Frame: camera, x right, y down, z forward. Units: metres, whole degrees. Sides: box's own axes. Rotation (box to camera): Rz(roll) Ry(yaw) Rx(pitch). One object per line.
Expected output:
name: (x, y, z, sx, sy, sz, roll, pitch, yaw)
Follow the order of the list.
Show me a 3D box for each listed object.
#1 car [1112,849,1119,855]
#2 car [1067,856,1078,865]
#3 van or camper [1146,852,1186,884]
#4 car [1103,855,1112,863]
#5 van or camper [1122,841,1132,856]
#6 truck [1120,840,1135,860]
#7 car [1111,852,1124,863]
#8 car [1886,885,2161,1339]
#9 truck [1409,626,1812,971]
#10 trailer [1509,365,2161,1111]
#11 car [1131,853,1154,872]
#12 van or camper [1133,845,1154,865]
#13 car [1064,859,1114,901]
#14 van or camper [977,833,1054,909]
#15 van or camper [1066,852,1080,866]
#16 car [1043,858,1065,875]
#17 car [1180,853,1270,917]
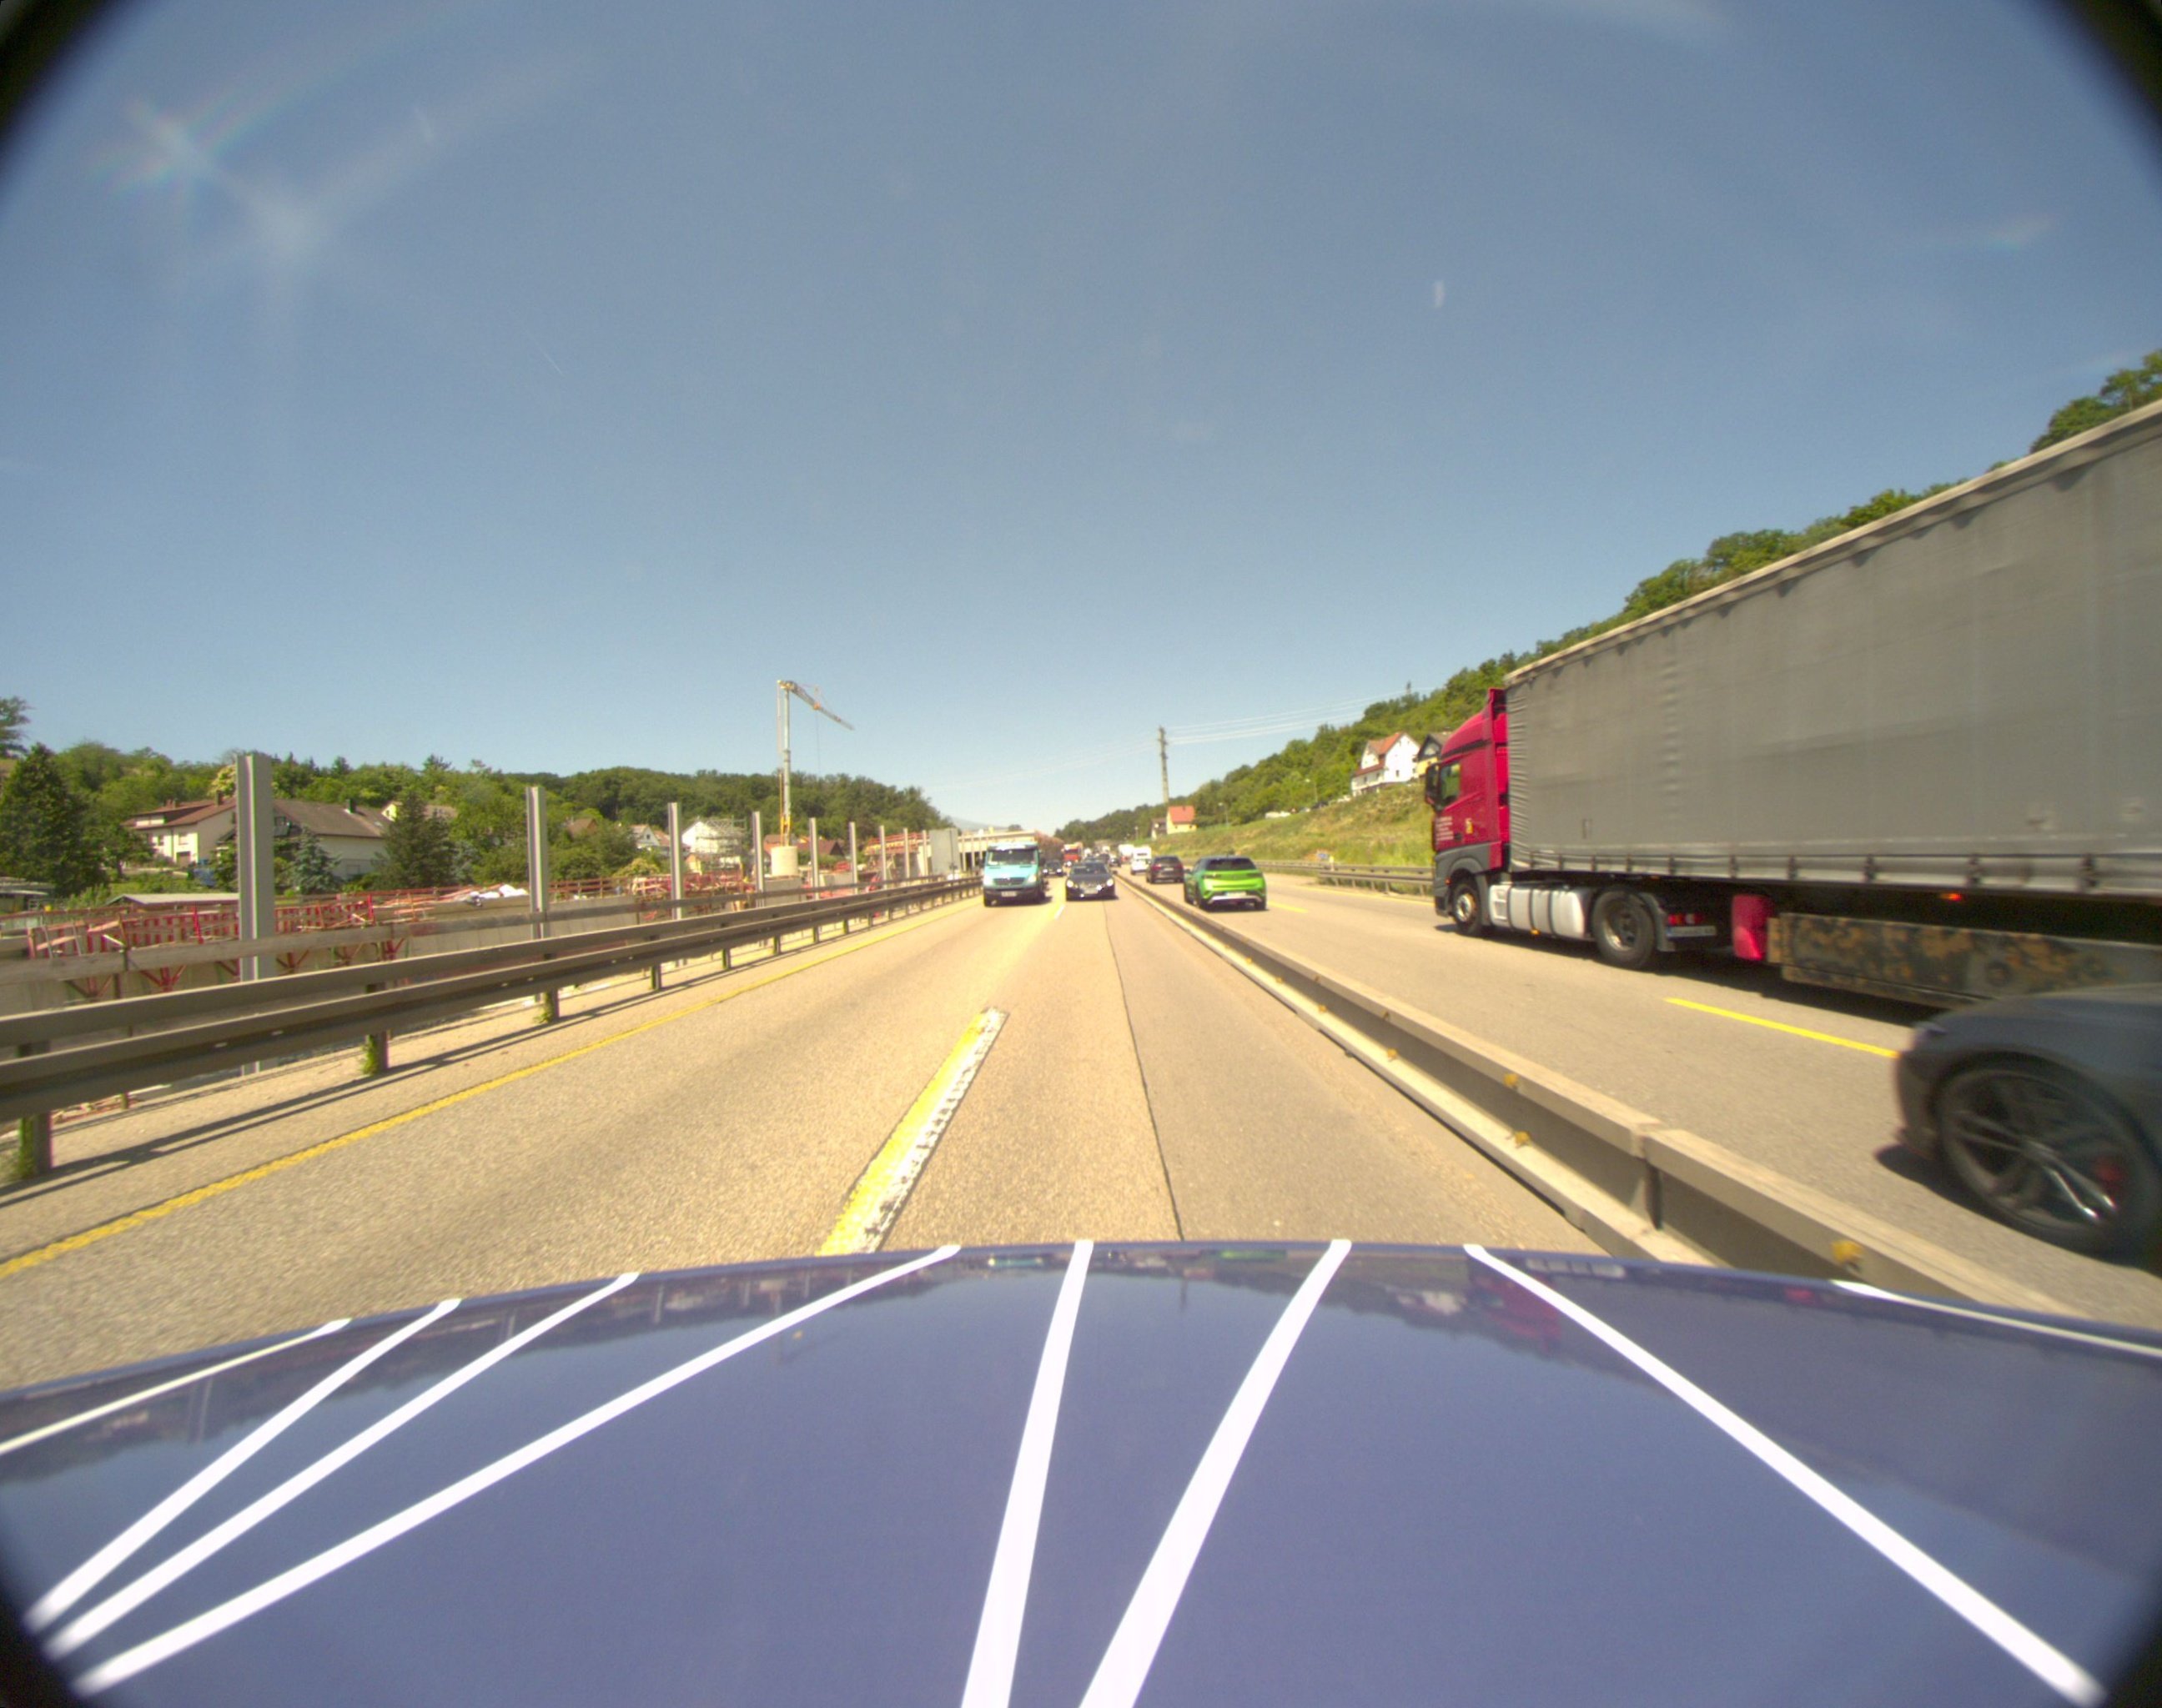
car: (10.233, -0.471, 224.035, 1.780, 1.652, 3.576, -2, 0, 0)
car: (-1.441, 1.068, 127.457, 1.679, 1.346, 3.486, -4, 0, 1)
van or camper: (4.804, 0.755, 43.173, 1.832, 1.658, 3.888, -2, 0, 1)
car: (5.249, 0.972, 150.650, 1.601, 1.499, 3.162, -4, 0, 1)
van or camper: (9.111, -1.050, 150.689, 1.566, 2.744, 5.181, -4, 0, 1)
truck: (8.509, -0.709, 140.527, 2.385, 3.412, 9.306, 0, 0, 1)
car: (5.062, 0.463, 105.943, 1.660, 1.420, 3.176, -5, 0, 1)
car: (4.252, 0.822, 0.971, 1.772, 1.355, 4.411, -2, 0, 0)
truck: (7.454, -0.674, 11.567, 2.828, 4.100, 4.598, -2, 0, 0)
trailer: (7.386, -0.667, 3.833, 2.864, 4.100, 13.437, -2, 0, 0)
car: (5.119, 0.656, 63.496, 1.677, 1.468, 4.541, -2, 0, 2)
van or camper: (8.620, 0.138, 105.280, 2.382, 2.634, 6.052, -2, 0, 1)
car: (0.307, 0.949, 28.900, 1.746, 1.420, 4.000, -1, 0, 1)
van or camper: (-2.346, 0.572, 29.376, 2.097, 2.458, 7.671, -2, 0, 1)
van or camper: (-1.461, 0.909, 143.907, 2.321, 2.513, 4.527, -4, 0, 1)
car: (-2.344, 1.077, 65.909, 1.611, 1.324, 3.496, -4, 0, 1)
car: (3.929, 0.791, 21.357, 1.758, 1.499, 4.000, -4, 0, 1)
